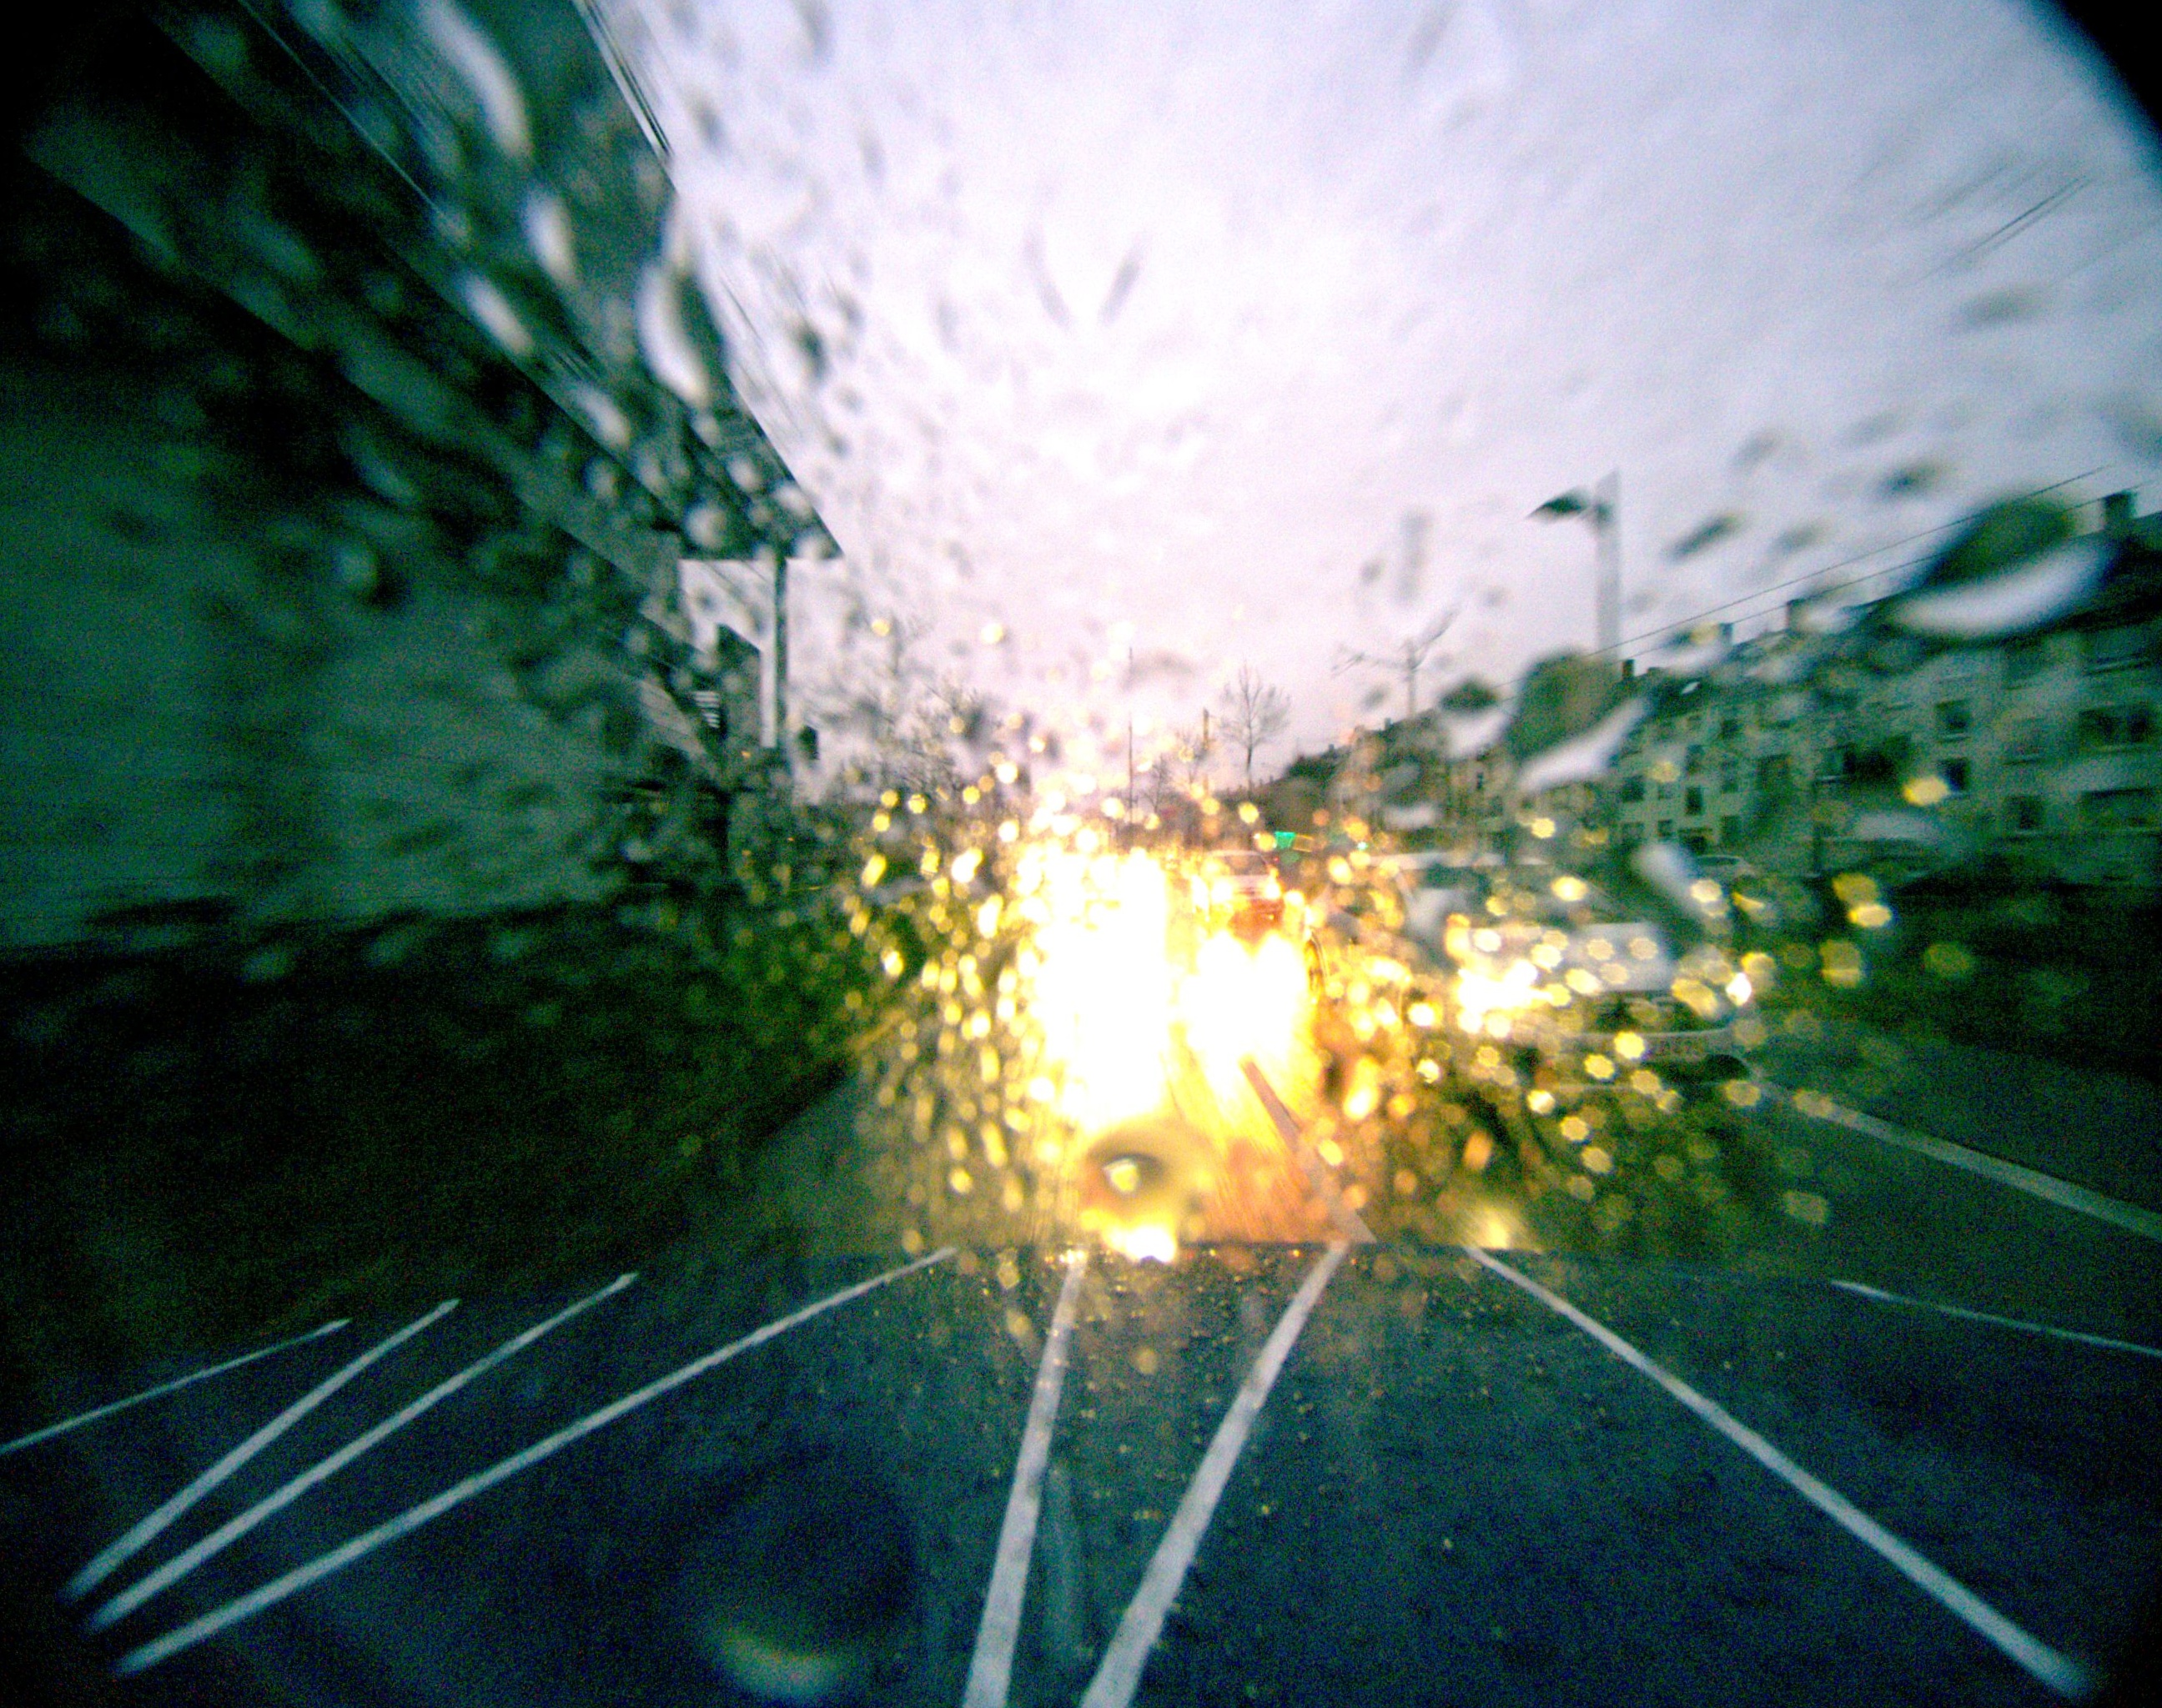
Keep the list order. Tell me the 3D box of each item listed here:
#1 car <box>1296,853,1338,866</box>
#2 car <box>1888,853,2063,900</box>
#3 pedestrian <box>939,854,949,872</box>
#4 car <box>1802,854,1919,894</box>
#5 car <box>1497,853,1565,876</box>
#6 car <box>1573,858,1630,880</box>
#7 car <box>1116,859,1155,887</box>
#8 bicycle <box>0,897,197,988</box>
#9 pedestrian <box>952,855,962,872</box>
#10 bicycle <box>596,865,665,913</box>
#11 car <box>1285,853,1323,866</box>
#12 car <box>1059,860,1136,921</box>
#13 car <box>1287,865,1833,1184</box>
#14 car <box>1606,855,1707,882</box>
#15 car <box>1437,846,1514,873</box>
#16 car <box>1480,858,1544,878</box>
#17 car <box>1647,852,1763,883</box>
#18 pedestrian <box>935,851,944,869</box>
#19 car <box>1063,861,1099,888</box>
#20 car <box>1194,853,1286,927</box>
[{"bbox_3d":[26.736,0.666,86.105,4.095,1.154,1.715,-4,1,36],"label":"car"},{"bbox_3d":[29.151,0.742,24.923,3.376,1.413,1.673,-2,0,36],"label":"car"},{"bbox_3d":[-12.728,0.865,70.707,0.673,1.615,0.615,-2,1,13],"label":"pedestrian"},{"bbox_3d":[28.909,0.749,28.288,2.929,1.328,1.741,-3,0,44],"label":"car"},{"bbox_3d":[28.147,0.667,47.646,3.571,1.301,1.689,-3,0,30],"label":"car"},{"bbox_3d":[28.261,0.814,41.325,2.386,1.042,1.439,-3,-1,30],"label":"car"},{"bbox_3d":[3.077,1.050,43.524,1.905,1.475,3.655,-2,0,-1],"label":"car"},{"bbox_3d":[-12.003,1.068,9.273,1.814,1.045,0.396,0,1,-5],"label":"bicycle"},{"bbox_3d":[-11.863,0.926,72.644,0.674,1.603,0.615,-2,1,11],"label":"pedestrian"},{"bbox_3d":[-13.024,0.983,22.040,0.411,1.277,1.747,-2,0,25],"label":"bicycle"},{"bbox_3d":[26.223,0.652,89.350,4.034,1.223,1.350,-4,1,34],"label":"car"},{"bbox_3d":[0.336,0.872,19.794,1.669,1.325,3.786,-2,0,-3],"label":"car"},{"bbox_3d":[2.930,0.889,5.792,1.692,1.465,4.001,-2,0,2],"label":"car"},{"bbox_3d":[28.459,0.749,37.618,3.811,1.165,1.741,-3,0,42],"label":"car"},{"bbox_3d":[28.009,0.411,53.993,4.647,1.713,1.836,-3,0,31],"label":"car"},{"bbox_3d":[28.265,0.898,49.916,3.563,1.134,1.740,-3,0,30],"label":"car"},{"bbox_3d":[28.590,0.634,34.960,3.834,1.238,1.741,-3,0,30],"label":"car"},{"bbox_3d":[-14.098,0.577,75.667,0.674,1.767,0.615,-2,1,11],"label":"pedestrian"},{"bbox_3d":[-0.032,1.126,42.158,1.737,1.311,3.802,-2,0,-3],"label":"car"},{"bbox_3d":[3.686,0.777,18.183,1.637,1.510,3.909,-2,0,5],"label":"car"}]
